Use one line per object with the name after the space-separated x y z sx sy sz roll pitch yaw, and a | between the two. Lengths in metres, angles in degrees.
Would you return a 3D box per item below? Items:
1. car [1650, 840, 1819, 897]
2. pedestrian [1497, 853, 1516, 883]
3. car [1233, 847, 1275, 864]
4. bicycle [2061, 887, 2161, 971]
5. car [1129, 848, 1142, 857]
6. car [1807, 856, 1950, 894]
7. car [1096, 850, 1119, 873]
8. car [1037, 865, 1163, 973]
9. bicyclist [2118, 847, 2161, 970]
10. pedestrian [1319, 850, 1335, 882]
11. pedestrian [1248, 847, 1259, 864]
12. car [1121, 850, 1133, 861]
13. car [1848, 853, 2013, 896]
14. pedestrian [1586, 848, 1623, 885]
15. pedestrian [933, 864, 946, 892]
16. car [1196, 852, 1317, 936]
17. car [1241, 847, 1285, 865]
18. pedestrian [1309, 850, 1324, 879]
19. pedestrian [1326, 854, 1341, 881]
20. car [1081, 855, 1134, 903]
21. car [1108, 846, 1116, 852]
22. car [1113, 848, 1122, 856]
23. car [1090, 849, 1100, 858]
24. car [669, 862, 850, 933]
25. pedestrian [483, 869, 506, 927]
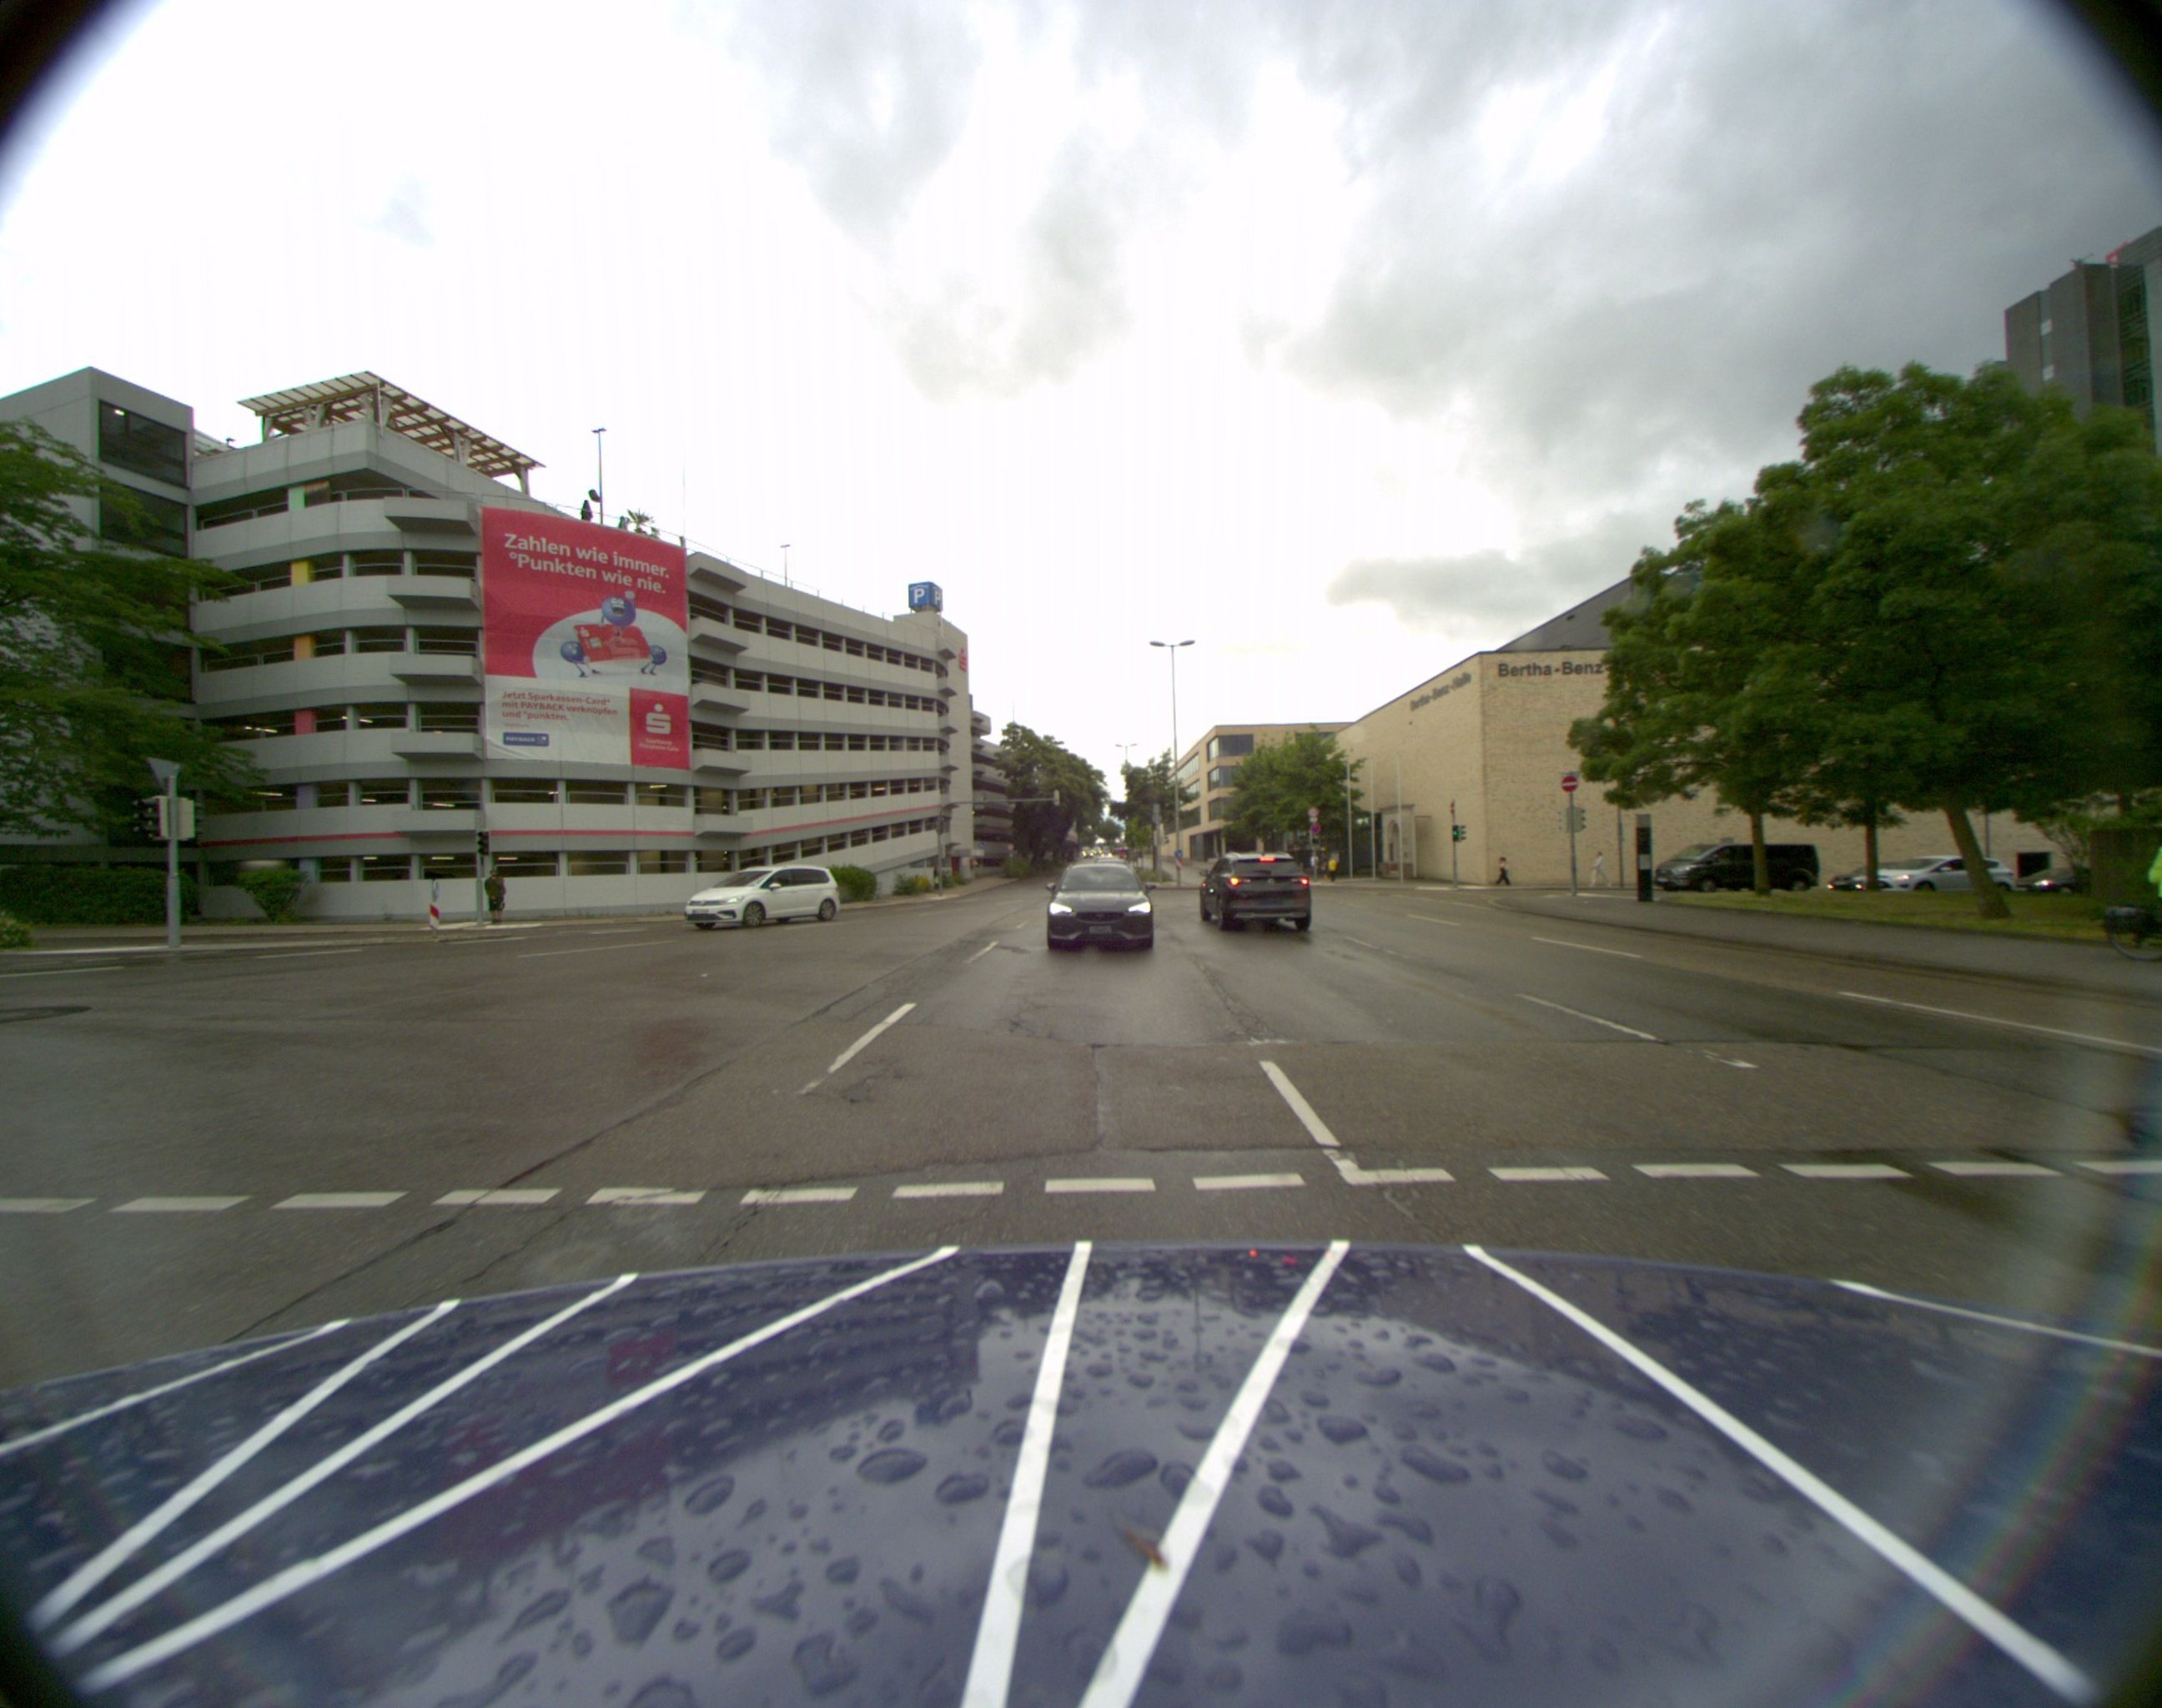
25.069 0.546 29.267 4.789 1.914 2.000 2 0 -2 | car
20.511 0.671 36.627 0.622 1.368 0.475 -3 1 2 | pedestrian
17.896 0.131 78.797 3.995 1.576 2.001 -3 0 5 | car
13.166 0.912 8.941 0.887 0.902 1.867 -3 0 3 | bicycle
8.422 -0.225 117.211 1.675 1.461 4.300 1 0 -1 | car
34.305 0.879 32.755 3.997 1.449 2.000 2 0 0 | car
2.292 0.674 65.684 1.804 1.817 3.950 -4 0 2 | car
0.210 0.962 13.184 1.739 1.380 4.581 -3 0 -2 | car
13.156 0.636 8.900 0.844 1.434 0.812 -3 1 3 | bicyclist
13.909 0.688 42.980 0.595 1.761 0.692 -3 1 0 | pedestrian
16.760 0.140 73.809 0.803 1.638 0.976 -3 1 8 | pedestrian
8.352 0.253 137.591 1.855 1.841 4.300 1 0 -1 | car
32.479 0.751 29.142 3.997 1.449 2.000 2 0 0 | car
24.655 0.571 35.806 1.113 1.690 0.807 -3 1 -1 | pedestrian
-8.715 1.472 46.817 0.584 1.650 0.519 1 2 18 | pedestrian
3.741 0.782 16.895 1.812 1.585 4.295 -1 0 2 | car
18.219 0.186 76.326 3.995 1.576 2.001 -3 0 5 | car
14.147 0.612 45.659 0.595 1.721 0.692 -3 1 -4 | pedestrian
14.737 0.770 44.399 0.595 1.507 0.692 -3 1 0 | pedestrian
0.988 0.907 29.869 1.846 1.647 4.000 -3 0 0 | car
8.418 -1.368 206.361 2.028 1.598 4.300 1 0 -1 | car
8.093 -0.466 168.416 1.675 1.598 4.300 1 0 -1 | car
2.820 -0.166 152.982 1.998 1.716 4.401 -1 -1 1 | car
-8.561 1.092 20.691 1.995 1.716 4.407 -1 -1 22 | car
-19.419 1.444 25.161 0.546 1.879 0.506 2 -1 -39 | pedestrian
